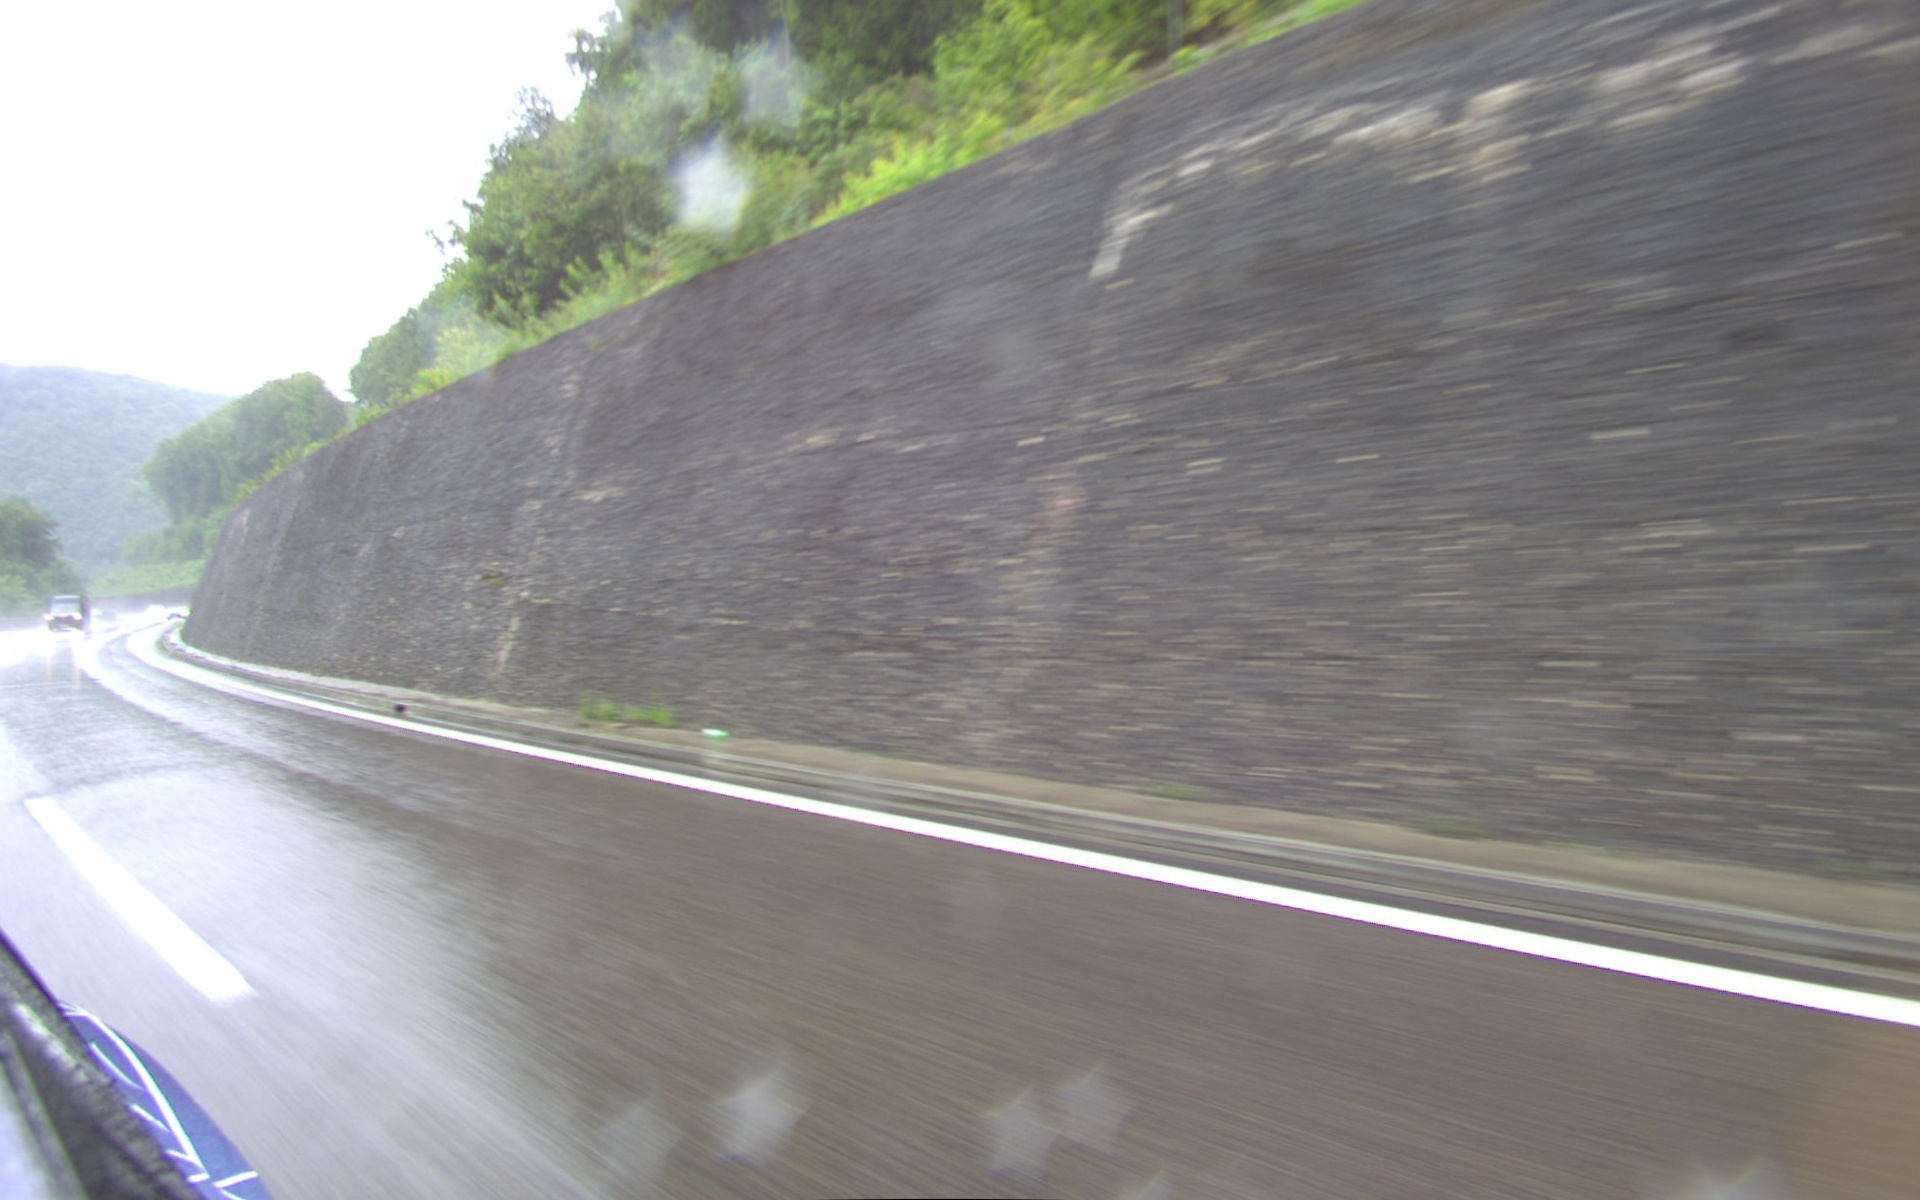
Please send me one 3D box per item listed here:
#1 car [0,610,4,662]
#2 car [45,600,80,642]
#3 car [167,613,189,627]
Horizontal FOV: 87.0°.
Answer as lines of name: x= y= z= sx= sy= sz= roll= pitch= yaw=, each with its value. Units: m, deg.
car: x=-28.888 y=1.113 z=28.398 sx=2.323 sy=1.570 sz=5.511 roll=-1 pitch=0 yaw=-37
car: x=-67.123 y=1.550 z=75.733 sx=1.715 sy=3.048 sz=4.007 roll=-1 pitch=0 yaw=-39
car: x=-94.304 y=2.378 z=122.119 sx=1.709 sy=1.678 sz=3.877 roll=-1 pitch=0 yaw=-32
